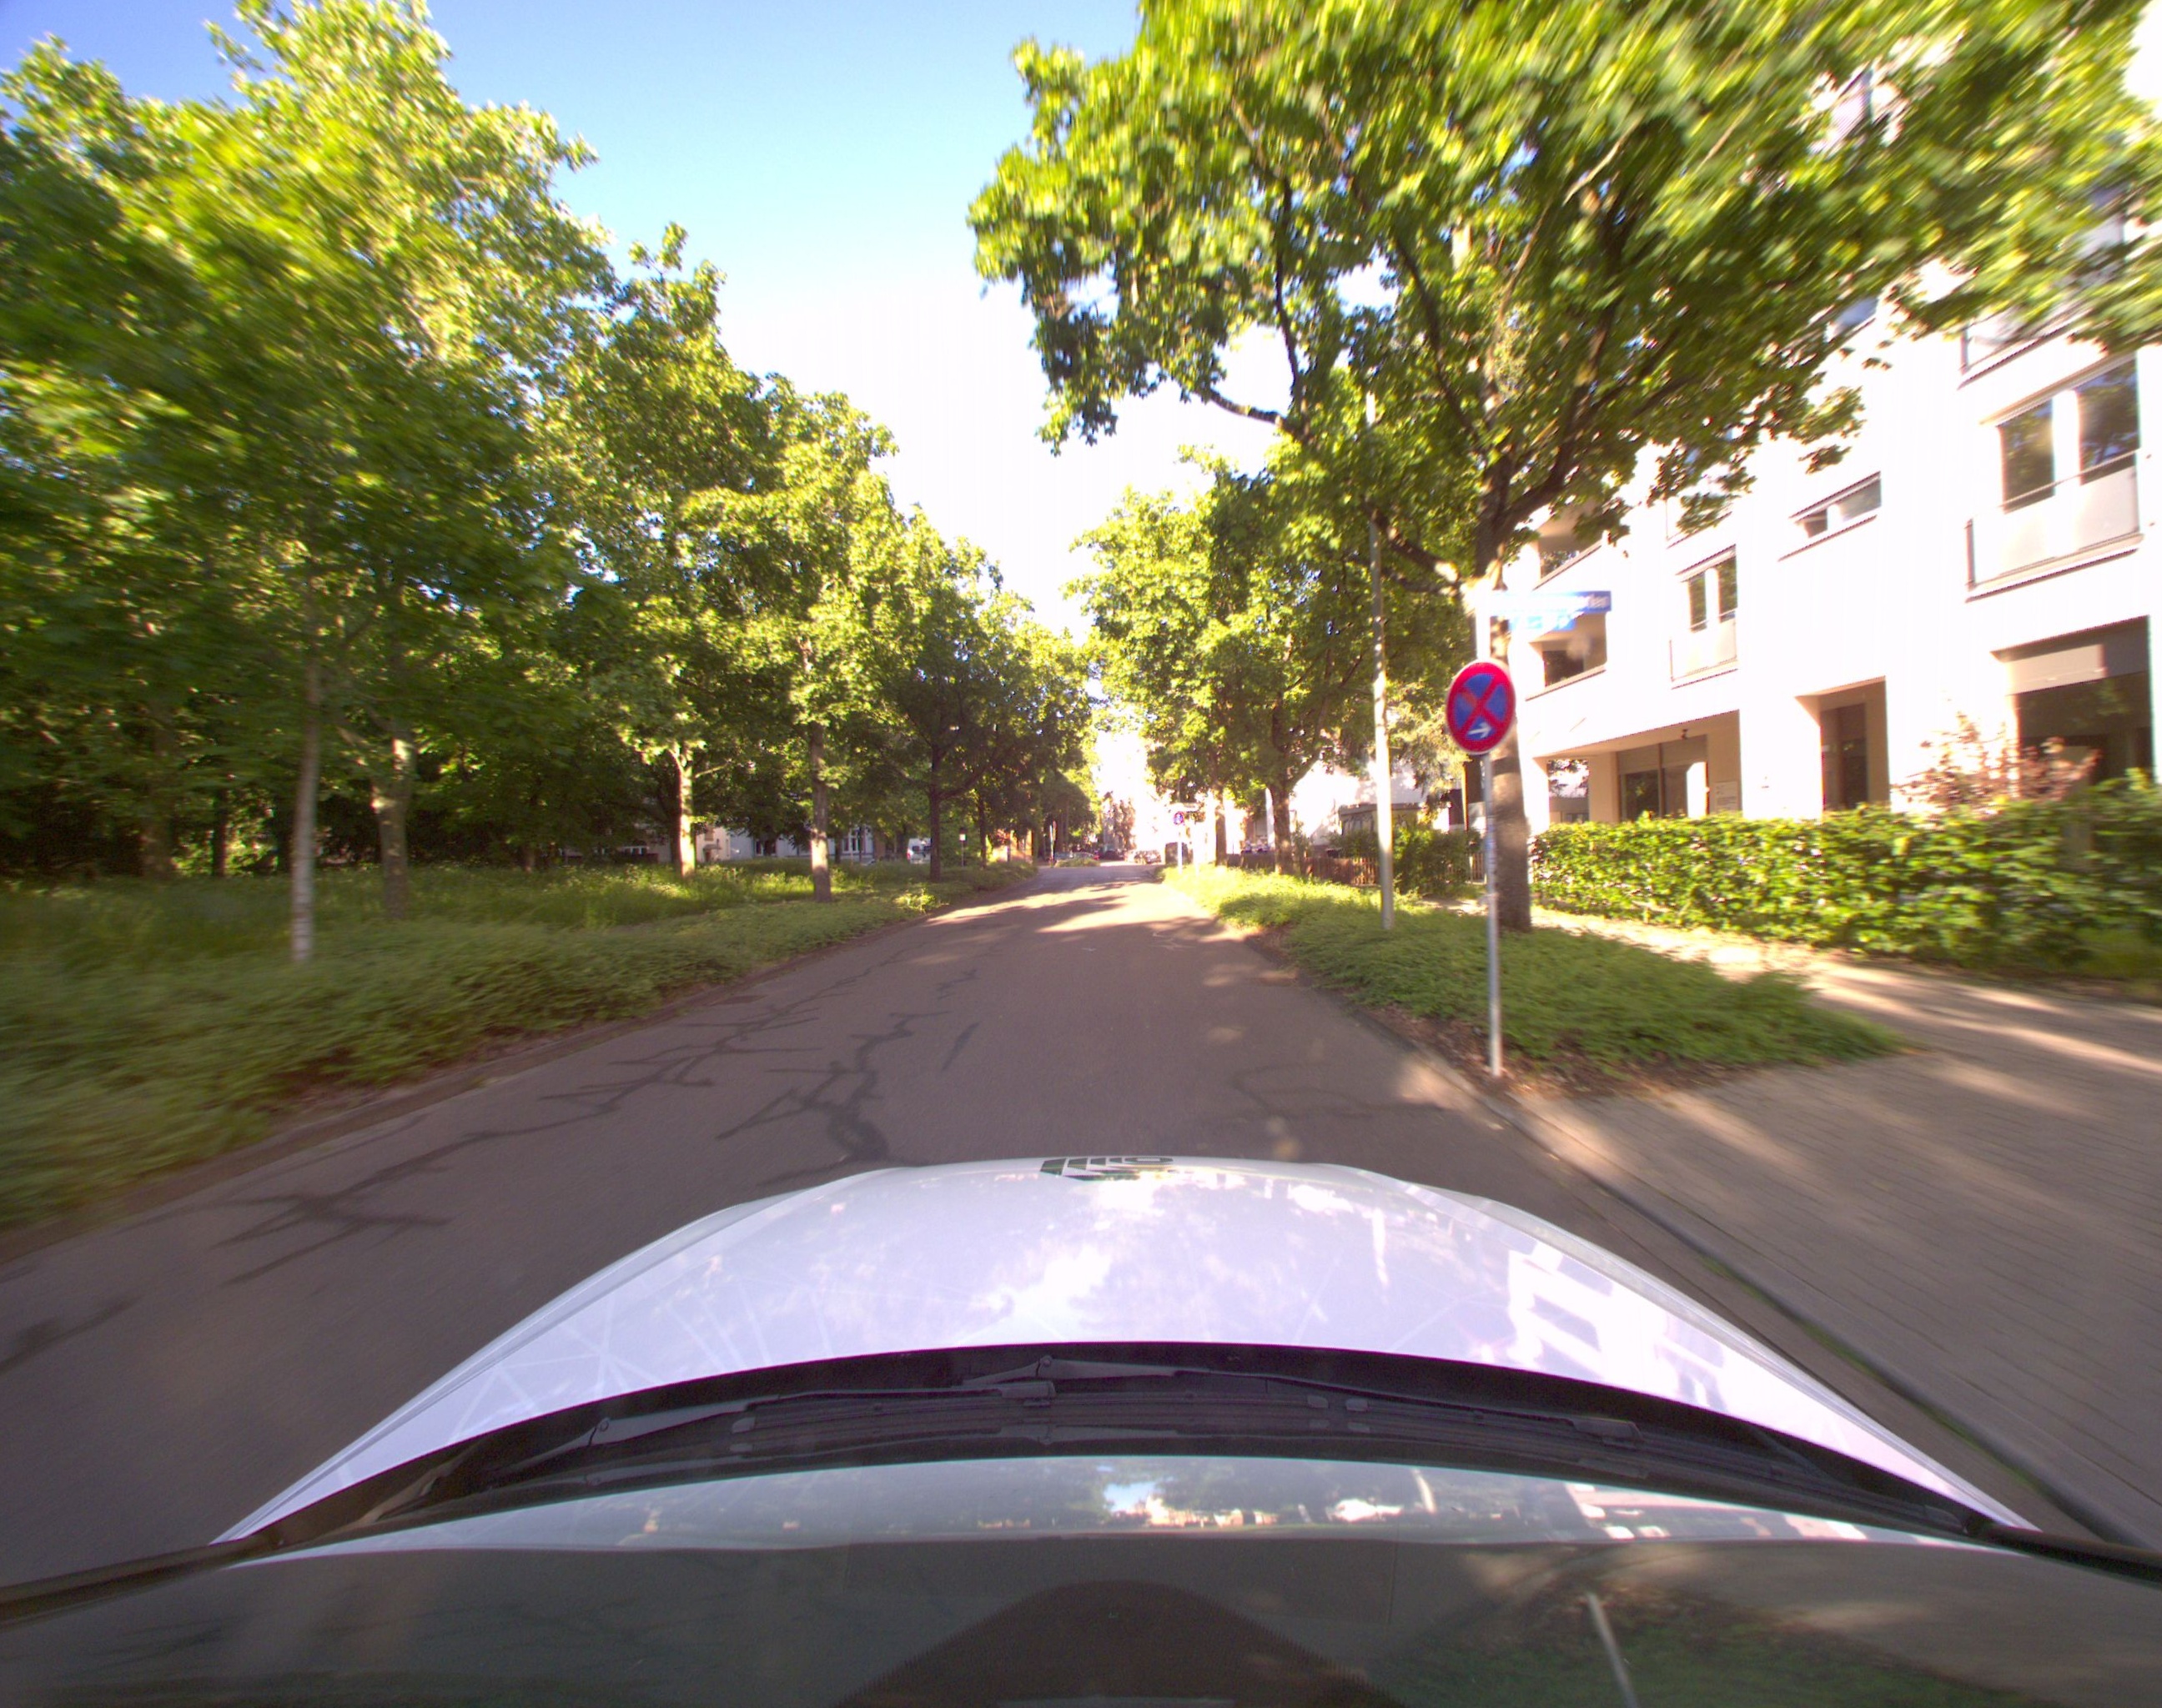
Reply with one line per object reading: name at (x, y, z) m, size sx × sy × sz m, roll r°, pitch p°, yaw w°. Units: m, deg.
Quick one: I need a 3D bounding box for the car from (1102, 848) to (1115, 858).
car at (4.268, -0.126, 126.833) m, size 1.806 × 1.501 × 3.998 m, roll 0°, pitch 0°, yaw -1°

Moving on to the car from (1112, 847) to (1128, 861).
car at (5.344, -0.047, 111.787) m, size 1.806 × 1.925 × 3.998 m, roll 0°, pitch 0°, yaw -1°

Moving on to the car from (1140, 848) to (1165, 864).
car at (7.268, 0.211, 83.164) m, size 1.808 × 1.501 × 3.993 m, roll -2°, pitch 0°, yaw -5°

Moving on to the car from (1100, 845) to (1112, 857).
car at (4.192, -0.485, 136.779) m, size 1.806 × 2.050 × 3.998 m, roll 0°, pitch 0°, yaw -1°

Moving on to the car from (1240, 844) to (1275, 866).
car at (13.616, 0.060, 63.032) m, size 1.986 × 1.585 × 3.641 m, roll -1°, pitch 0°, yaw 2°

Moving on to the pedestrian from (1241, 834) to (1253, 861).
pedestrian at (11.550, -0.422, 56.589) m, size 0.614 × 1.870 × 0.694 m, roll 0°, pitch 0°, yaw -5°

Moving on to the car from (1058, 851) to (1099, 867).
car at (-0.266, 0.481, 81.297) m, size 3.982 × 1.501 × 1.813 m, roll 0°, pitch 0°, yaw -6°

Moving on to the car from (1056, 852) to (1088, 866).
car at (-1.063, 0.557, 92.681) m, size 3.582 × 1.510 × 1.497 m, roll 0°, pitch 0°, yaw -6°

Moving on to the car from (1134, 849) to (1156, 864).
car at (7.011, 0.278, 89.407) m, size 1.989 × 1.574 × 3.996 m, roll 0°, pitch 0°, yaw -2°

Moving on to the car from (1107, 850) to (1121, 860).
car at (4.853, 0.158, 120.068) m, size 1.806 × 1.501 × 3.998 m, roll 0°, pitch 0°, yaw -1°

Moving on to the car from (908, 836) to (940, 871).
car at (-11.541, -0.045, 60.224) m, size 1.991 × 2.508 × 3.991 m, roll -1°, pitch 0°, yaw -6°

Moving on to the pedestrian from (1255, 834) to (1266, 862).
pedestrian at (12.319, -0.414, 55.893) m, size 0.614 × 1.870 × 0.694 m, roll 0°, pitch 0°, yaw -5°

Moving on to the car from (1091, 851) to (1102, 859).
car at (2.884, 0.175, 153.870) m, size 1.806 × 1.501 × 3.998 m, roll 0°, pitch 0°, yaw -1°
